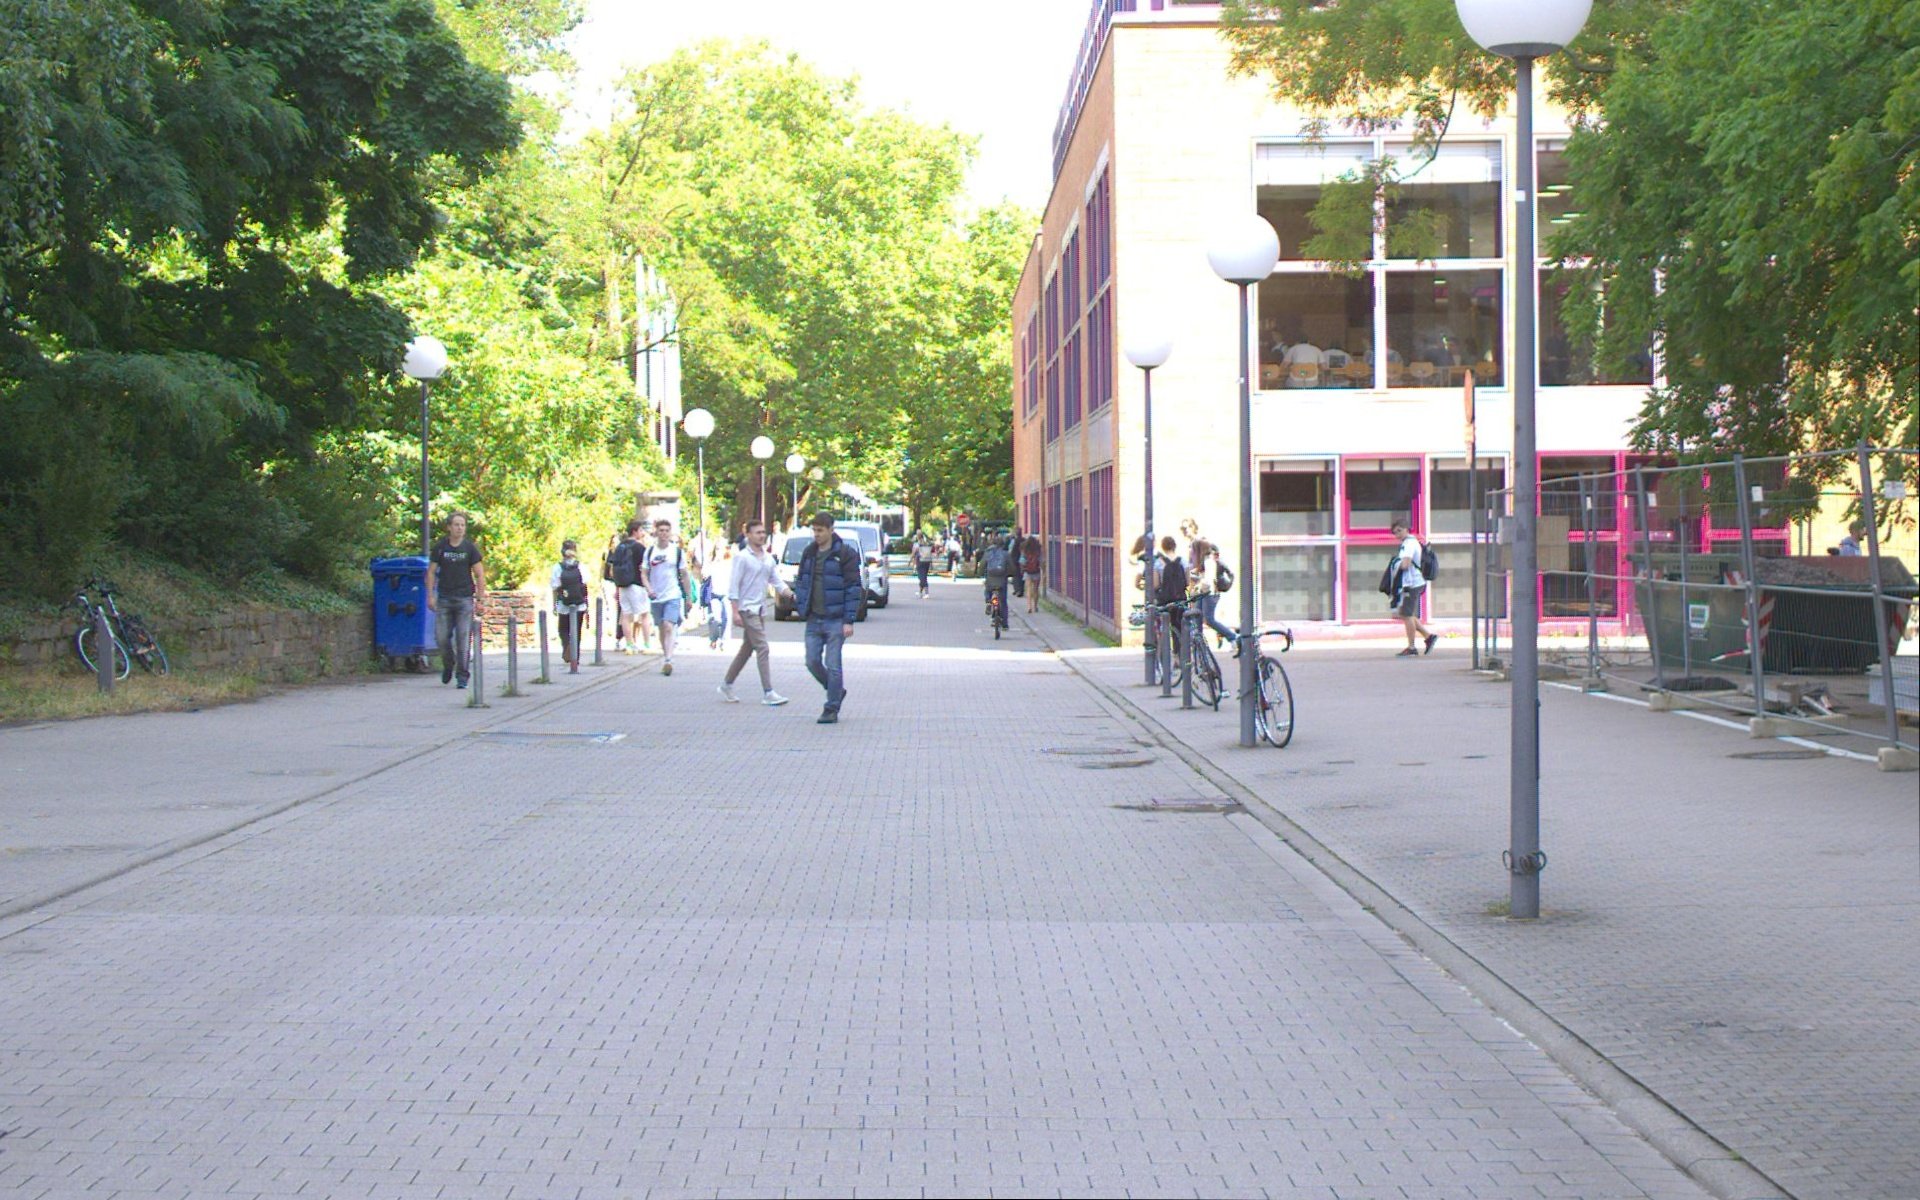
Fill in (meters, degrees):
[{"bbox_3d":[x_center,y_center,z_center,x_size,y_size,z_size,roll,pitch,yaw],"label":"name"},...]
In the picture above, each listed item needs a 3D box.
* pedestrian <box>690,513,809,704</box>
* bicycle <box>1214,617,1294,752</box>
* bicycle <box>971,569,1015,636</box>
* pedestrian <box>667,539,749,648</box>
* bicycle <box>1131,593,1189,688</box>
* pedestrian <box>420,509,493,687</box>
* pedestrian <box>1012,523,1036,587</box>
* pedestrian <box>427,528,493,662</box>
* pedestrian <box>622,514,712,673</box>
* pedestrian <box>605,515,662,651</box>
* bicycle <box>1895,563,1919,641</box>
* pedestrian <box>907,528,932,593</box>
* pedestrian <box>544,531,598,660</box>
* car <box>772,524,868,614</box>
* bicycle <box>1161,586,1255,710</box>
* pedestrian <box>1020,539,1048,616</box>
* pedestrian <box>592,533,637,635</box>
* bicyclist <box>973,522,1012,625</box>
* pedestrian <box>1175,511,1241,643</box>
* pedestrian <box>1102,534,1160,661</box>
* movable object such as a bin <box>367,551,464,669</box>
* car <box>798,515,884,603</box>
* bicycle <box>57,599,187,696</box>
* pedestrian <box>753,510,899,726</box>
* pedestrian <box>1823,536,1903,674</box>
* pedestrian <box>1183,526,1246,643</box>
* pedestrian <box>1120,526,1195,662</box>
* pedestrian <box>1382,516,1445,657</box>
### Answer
[{"bbox_3d":[-2.074,0.077,33.839,0.783,1.839,1.118,1,1,-25],"label":"pedestrian"},{"bbox_3d":[2.207,0.620,25.927,0.395,0.932,1.732,-2,1,-1],"label":"bicycle"},{"bbox_3d":[0.543,0.028,57.374,0.587,1.080,1.908,0,1,-4],"label":"bicycle"},{"bbox_3d":[-3.615,-0.091,49.288,0.740,1.537,0.889,2,-1,-39],"label":"pedestrian"},{"bbox_3d":[2.161,0.429,37.240,0.450,0.958,1.740,-2,1,-1],"label":"bicycle"},{"bbox_3d":[-5.355,-0.023,36.594,0.682,1.866,1.121,1,0,-5],"label":"pedestrian"},{"bbox_3d":[1.676,-1.171,89.993,0.586,1.667,0.817,-1,0,1],"label":"pedestrian"},{"bbox_3d":[-6.502,-0.066,44.680,0.682,1.722,1.002,0,0,-17],"label":"pedestrian"},{"bbox_3d":[-3.518,-0.078,41.377,0.724,1.875,1.081,1,0,16],"label":"pedestrian"},{"bbox_3d":[-4.451,-0.233,46.909,0.682,1.838,0.783,1,0,0],"label":"pedestrian"},{"bbox_3d":[14.380,0.039,49.240,1.809,1.106,0.524,1,1,-2],"label":"bicycle"},{"bbox_3d":[-1.055,-1.019,89.186,0.586,1.667,0.817,-1,0,1],"label":"pedestrian"},{"bbox_3d":[-4.912,-0.061,43.397,0.568,1.605,0.918,1,0,-12],"label":"pedestrian"},{"bbox_3d":[-2.794,-0.653,69.361,1.790,1.756,4.481,0,1,-1],"label":"car"},{"bbox_3d":[2.276,0.427,31.727,0.708,1.089,1.749,0,1,-1],"label":"bicycle"},{"bbox_3d":[1.631,-0.493,75.809,0.586,1.667,0.699,-1,0,1],"label":"pedestrian"},{"bbox_3d":[-5.554,-0.260,55.255,0.682,1.615,0.979,1,0,-5],"label":"pedestrian"},{"bbox_3d":[0.542,-0.444,57.378,0.587,1.710,0.665,0,1,-4],"label":"bicyclist"},{"bbox_3d":[3.496,-0.320,48.529,0.825,1.838,0.685,1,0,-3],"label":"pedestrian"},{"bbox_3d":[2.276,-0.030,45.763,0.697,1.667,0.588,-1,0,7],"label":"pedestrian"},{"bbox_3d":[-6.393,0.104,40.409,0.709,1.332,1.239,3,1,10],"label":"movable object such as a bin"},{"bbox_3d":[-2.742,-0.973,80.166,1.883,1.967,5.215,0,1,-1],"label":"car"},{"bbox_3d":[-8.034,0.456,33.013,0.421,0.907,1.739,1,-1,15],"label":"bicycle"},{"bbox_3d":[-1.175,0.144,30.303,0.887,1.851,1.031,2,1,24],"label":"pedestrian"},{"bbox_3d":[11.334,0.071,43.175,0.902,1.722,0.684,-1,-2,11],"label":"pedestrian"},{"bbox_3d":[3.534,-0.215,47.779,0.780,1.615,0.685,1,0,-3],"label":"pedestrian"},{"bbox_3d":[2.426,-0.070,42.188,0.852,1.645,0.588,1,0,7],"label":"pedestrian"},{"bbox_3d":[5.851,-0.169,44.338,0.767,1.788,0.588,-1,0,7],"label":"pedestrian"}]
